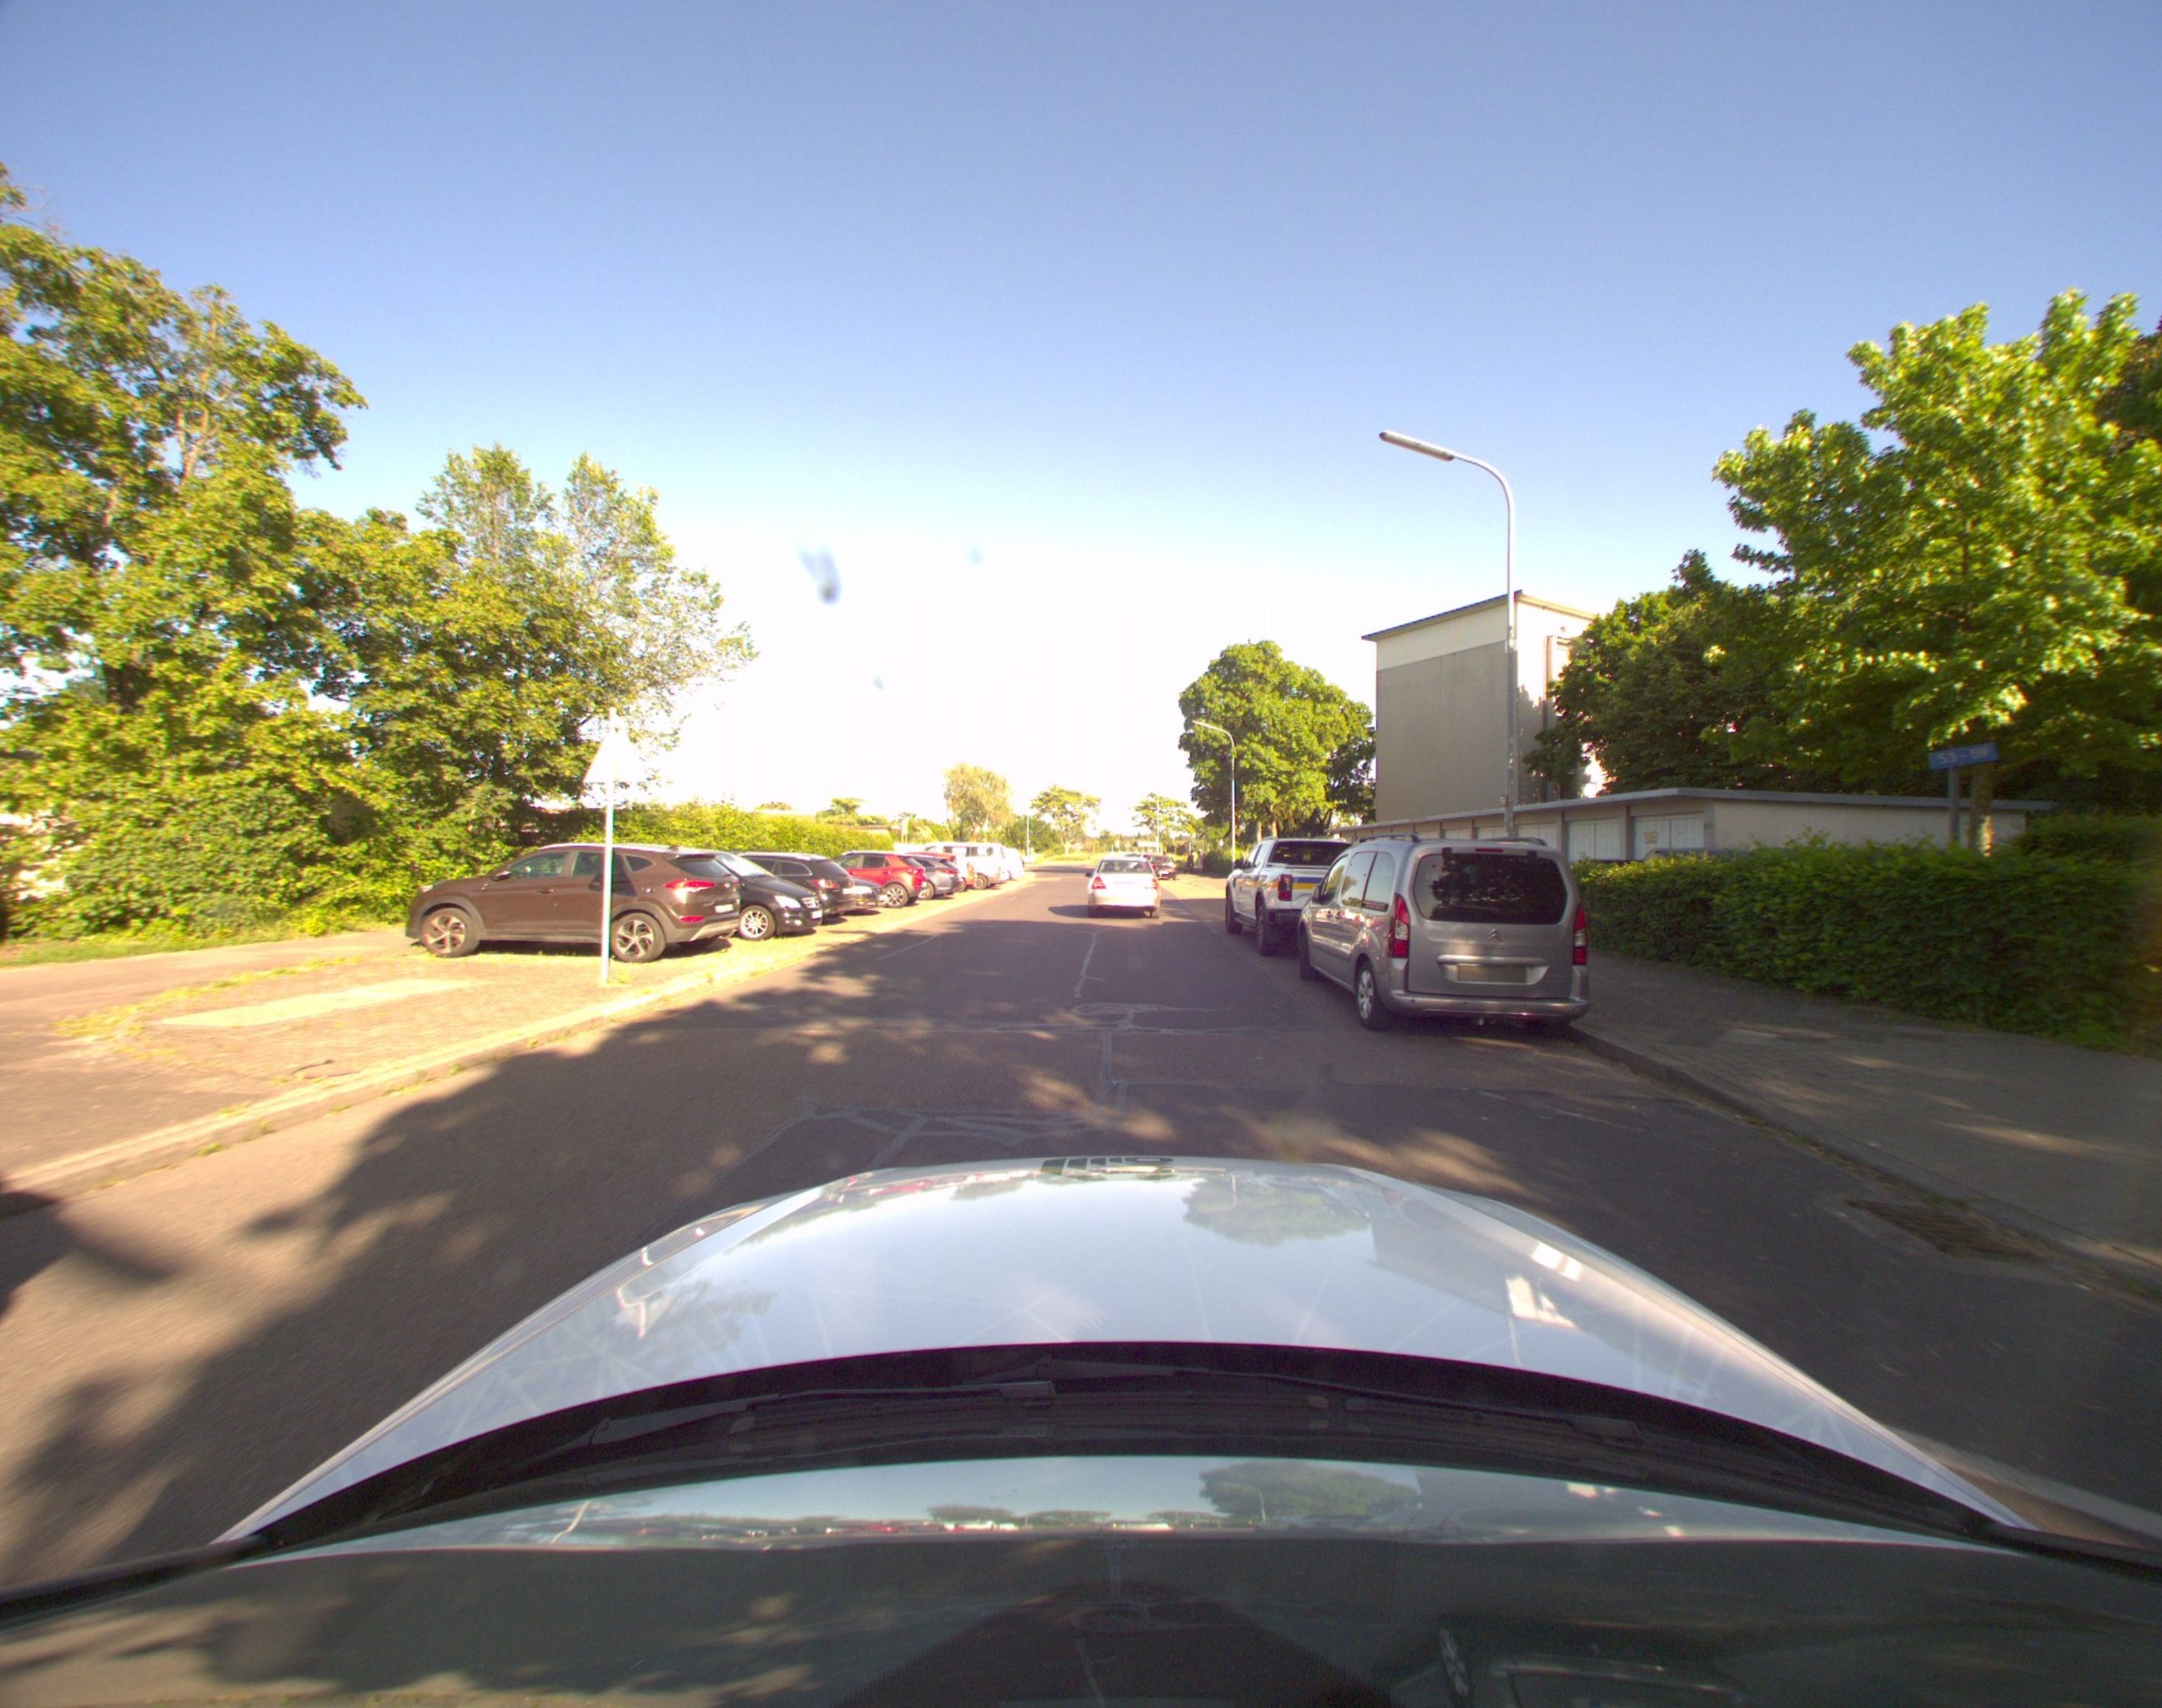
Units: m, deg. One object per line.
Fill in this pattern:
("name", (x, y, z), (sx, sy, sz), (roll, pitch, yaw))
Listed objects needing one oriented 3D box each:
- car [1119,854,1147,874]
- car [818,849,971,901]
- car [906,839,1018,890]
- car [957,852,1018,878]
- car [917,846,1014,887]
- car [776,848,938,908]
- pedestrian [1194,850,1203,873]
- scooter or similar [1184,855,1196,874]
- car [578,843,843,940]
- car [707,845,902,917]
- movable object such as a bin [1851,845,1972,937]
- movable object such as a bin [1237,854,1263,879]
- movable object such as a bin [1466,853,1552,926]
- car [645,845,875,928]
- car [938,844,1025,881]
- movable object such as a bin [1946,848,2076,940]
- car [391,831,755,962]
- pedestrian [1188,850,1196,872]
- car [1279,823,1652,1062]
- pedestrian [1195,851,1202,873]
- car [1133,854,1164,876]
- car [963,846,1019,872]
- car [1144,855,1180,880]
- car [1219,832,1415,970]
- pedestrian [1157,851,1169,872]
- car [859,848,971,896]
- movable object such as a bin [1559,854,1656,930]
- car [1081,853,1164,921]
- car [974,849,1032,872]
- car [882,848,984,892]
("car", (4.108, 0.775, 65.238), (1.728, 1.543, 3.783), (1, -1, -4))
("car", (-6.042, 0.666, 26.748), (4.526, 1.479, 1.748), (2, 0, 2))
("car", (-5.106, 0.467, 35.403), (4.463, 1.977, 2.000), (2, -1, 0))
("car", (-5.697, 0.680, 49.824), (3.502, 1.446, 1.636), (2, -1, 0))
("car", (-5.334, 0.598, 37.918), (4.136, 1.706, 1.884), (2, -1, 1))
("car", (-6.200, 0.640, 22.852), (3.972, 1.479, 1.792), (2, 0, 2))
("pedestrian", (8.108, 0.534, 56.022), (0.485, 1.565, 0.468), (-1, -1, -6))
("scooter or similar", (7.511, 0.718, 56.036), (0.621, 1.227, 0.904), (-1, -1, -2))
("car", (-6.718, 0.662, 15.101), (3.974, 1.532, 1.832), (2, -1, 0))
("car", (-6.607, 0.641, 19.824), (4.005, 1.512, 1.906), (2, -1, 0))
("movable object such as a bin", (13.348, 0.583, 13.126), (1.070, 1.417, 0.835), (0, -1, 8))
("movable object such as a bin", (9.419, 0.689, 45.454), (1.233, 1.403, 0.914), (0, -1, -1))
("movable object such as a bin", (8.231, 0.673, 15.722), (1.241, 1.347, 1.056), (0, -1, 13))
("car", (-6.690, 0.670, 17.302), (4.079, 1.512, 1.812), (2, -1, 0))
("car", (-5.697, 0.471, 47.088), (4.776, 1.921, 2.080), (2, -1, -2))
("movable object such as a bin", (14.774, 0.620, 12.973), (1.070, 1.417, 0.835), (0, -1, 8))
("car", (-7.379, 0.596, 12.173), (4.173, 1.656, 1.846), (2, -1, 0))
("pedestrian", (7.815, 0.507, 57.186), (0.478, 1.565, 0.598), (-2, -1, 8))
("car", (3.528, 0.652, 8.591), (1.827, 1.791, 4.557), (2, 1, 1))
("pedestrian", (8.332, 0.559, 57.624), (0.361, 1.503, 0.500), (-1, -1, -5))
("car", (4.584, 0.721, 55.575), (1.572, 1.446, 3.783), (1, -1, -4))
("car", (-6.572, 0.375, 59.570), (3.971, 1.780, 1.922), (1, 0, -6))
("car", (4.727, 0.784, 47.884), (1.642, 1.403, 3.880), (0, -1, -1))
("car", (3.719, 0.616, 13.913), (1.899, 1.840, 5.276), (2, 1, 1))
("pedestrian", (6.214, 0.590, 61.578), (0.785, 1.565, 0.569), (2, -1, -3))
("car", (-6.012, 0.629, 29.799), (3.588, 1.567, 1.882), (2, 0, 2))
("movable object such as a bin", (9.798, 0.686, 15.214), (1.241, 1.347, 1.056), (0, -1, 13))
("car", (1.011, 0.726, 20.299), (1.809, 1.463, 4.363), (1, 0, 2))
("car", (-6.738, 0.541, 70.164), (4.867, 1.915, 1.995), (1, -1, -7))
("car", (-5.820, 0.612, 32.301), (3.588, 1.567, 1.853), (2, 0, 2))
